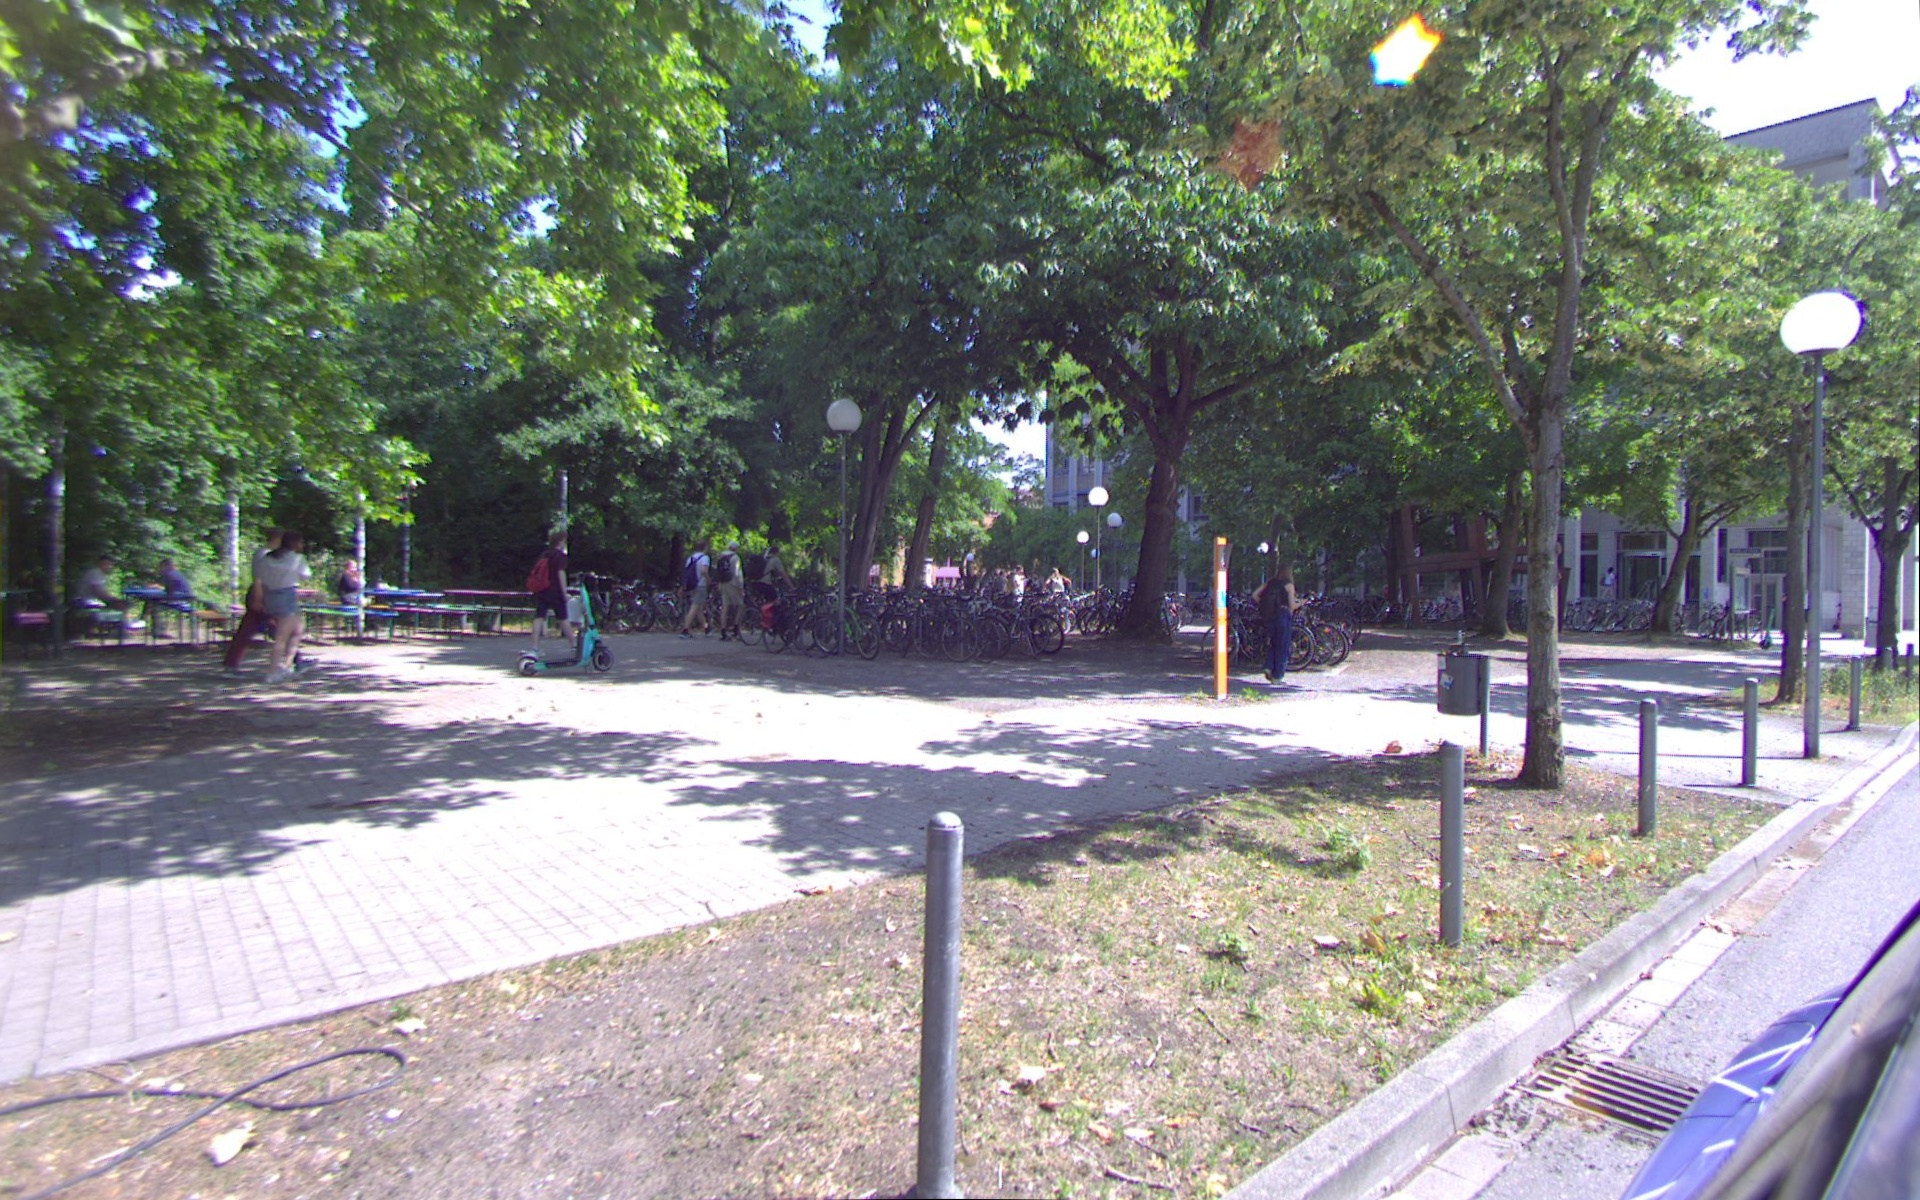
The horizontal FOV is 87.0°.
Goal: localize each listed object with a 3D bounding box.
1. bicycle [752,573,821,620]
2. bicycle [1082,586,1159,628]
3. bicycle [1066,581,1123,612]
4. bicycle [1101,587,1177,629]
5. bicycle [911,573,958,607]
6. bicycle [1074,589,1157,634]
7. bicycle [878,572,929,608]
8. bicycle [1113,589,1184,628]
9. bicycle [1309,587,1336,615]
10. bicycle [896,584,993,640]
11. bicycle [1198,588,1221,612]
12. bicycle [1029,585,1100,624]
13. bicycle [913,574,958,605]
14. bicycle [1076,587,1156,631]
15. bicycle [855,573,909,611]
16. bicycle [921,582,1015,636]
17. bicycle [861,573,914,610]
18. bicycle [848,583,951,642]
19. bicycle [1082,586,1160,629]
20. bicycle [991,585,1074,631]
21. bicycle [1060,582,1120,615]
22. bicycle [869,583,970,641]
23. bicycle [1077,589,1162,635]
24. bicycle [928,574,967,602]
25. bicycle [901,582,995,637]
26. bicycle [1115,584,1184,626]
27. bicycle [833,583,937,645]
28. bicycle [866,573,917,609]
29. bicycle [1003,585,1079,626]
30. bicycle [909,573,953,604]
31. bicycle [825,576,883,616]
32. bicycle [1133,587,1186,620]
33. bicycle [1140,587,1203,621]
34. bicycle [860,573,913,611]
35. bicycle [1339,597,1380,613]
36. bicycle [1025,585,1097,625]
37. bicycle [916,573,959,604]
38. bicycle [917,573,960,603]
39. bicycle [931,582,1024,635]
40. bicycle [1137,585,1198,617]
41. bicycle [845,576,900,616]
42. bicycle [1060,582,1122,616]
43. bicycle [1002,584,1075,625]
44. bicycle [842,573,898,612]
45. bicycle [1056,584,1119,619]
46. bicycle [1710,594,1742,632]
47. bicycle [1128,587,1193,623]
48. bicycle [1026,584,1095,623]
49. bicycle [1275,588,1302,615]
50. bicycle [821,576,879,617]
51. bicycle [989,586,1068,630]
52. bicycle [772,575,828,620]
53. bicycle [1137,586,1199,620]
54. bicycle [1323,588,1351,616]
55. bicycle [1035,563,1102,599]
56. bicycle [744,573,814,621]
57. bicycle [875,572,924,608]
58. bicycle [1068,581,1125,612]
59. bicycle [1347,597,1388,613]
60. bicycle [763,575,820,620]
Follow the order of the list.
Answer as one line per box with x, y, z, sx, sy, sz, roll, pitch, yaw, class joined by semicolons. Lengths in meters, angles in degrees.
-4.407;-0.097;25.649;1.734;1.107;0.475;2;2;24;bicycle
4.031;0.173;25.534;1.872;0.991;0.477;2;1;8;bicycle
4.588;-0.139;34.626;1.880;0.991;0.376;2;2;20;bicycle
4.661;0.193;26.330;1.880;0.991;0.475;2;2;20;bicycle
-0.886;-0.351;35.031;1.587;1.107;0.346;2;1;14;bicycle
3.691;0.276;24.030;1.868;0.991;0.478;2;1;1;bicycle
-1.856;-0.330;33.341;1.591;1.107;0.475;2;2;21;bicycle
5.125;0.220;27.596;1.873;0.991;0.477;2;1;11;bicycle
15.458;0.039;43.137;0.453;1.144;1.661;-2;-2;44;bicycle
-0.315;0.213;19.602;1.886;0.991;0.417;3;2;28;bicycle
11.806;0.021;47.783;0.475;1.098;1.666;-1;-2;35;bicycle
2.848;0.113;27.501;1.873;0.991;0.377;2;1;11;bicycle
-0.914;-0.389;37.181;1.586;1.107;0.347;2;1;12;bicycle
3.791;0.216;24.634;1.872;0.991;0.477;2;1;9;bicycle
-2.381;-0.245;30.896;1.591;1.107;0.475;2;2;21;bicycle
0.153;0.168;20.636;1.885;0.991;0.474;2;2;27;bicycle
-2.297;-0.290;31.958;1.591;1.107;0.475;2;2;21;bicycle
-1.117;0.216;18.518;1.881;0.991;0.418;2;2;22;bicycle
3.977;0.187;25.138;1.872;0.991;0.477;2;1;8;bicycle
1.709;0.185;23.902;1.880;0.991;0.475;2;2;20;bicycle
4.170;-0.061;32.521;1.880;0.991;0.376;2;2;20;bicycle
-0.775;0.210;19.070;1.884;0.991;0.474;2;2;25;bicycle
3.680;0.283;23.454;1.868;0.991;0.478;2;1;1;bicycle
-0.525;-0.488;41.904;1.581;1.107;0.348;2;1;1;bicycle
-0.256;0.178;20.089;1.886;0.991;0.417;3;2;28;bicycle
5.382;0.133;28.770;1.875;1.096;0.477;2;1;14;bicycle
-1.344;0.230;17.904;1.888;0.991;0.473;3;2;31;bicycle
-2.184;-0.298;32.290;1.591;1.107;0.346;2;2;21;bicycle
2.087;0.132;26.002;1.873;0.991;0.477;2;1;11;bicycle
-1.087;-0.440;38.241;1.586;1.107;0.347;2;1;12;bicycle
-3.076;-0.129;29.327;1.591;1.107;0.475;2;2;21;bicycle
6.719;0.112;34.181;1.714;1.035;0.292;2;1;9;bicycle
6.631;0.114;31.764;1.867;0.991;0.379;2;1;0;bicycle
-2.271;-0.254;31.230;1.591;1.107;0.475;2;2;21;bicycle
21.652;0.266;54.898;1.981;0.769;0.634;3;1;40;bicycle
2.711;0.136;27.108;1.873;0.991;0.377;2;1;11;bicycle
-0.855;-0.446;38.676;1.586;1.107;0.335;2;1;12;bicycle
-0.821;-0.454;38.916;1.586;1.107;0.347;2;1;12;bicycle
0.353;0.161;20.952;1.885;0.991;0.474;2;2;27;bicycle
6.778;0.035;33.048;1.868;0.991;0.378;2;1;1;bicycle
-2.584;-0.125;29.862;1.591;1.107;0.346;2;2;21;bicycle
4.112;-0.027;31.775;1.880;0.991;0.376;2;2;20;bicycle
2.056;0.117;26.469;1.873;0.991;0.377;2;1;11;bicycle
-2.698;-0.239;30.284;1.591;1.107;0.475;2;2;21;bicycle
3.955;0.034;31.390;1.880;0.991;0.376;2;2;20;bicycle
24.677;0.416;32.606;1.465;1.155;0.560;-1;3;-44;bicycle
6.102;0.140;30.771;1.880;0.991;0.376;2;2;20;bicycle
2.813;0.090;28.270;1.873;0.991;0.477;2;1;11;bicycle
14.413;0.080;44.392;0.453;1.144;1.661;-2;-2;44;bicycle
-3.151;-0.116;28.953;1.591;1.107;0.475;2;2;21;bicycle
1.678;0.176;24.947;1.885;0.991;0.438;2;2;26;bicycle
-4.228;-0.075;26.692;1.598;1.107;0.344;3;2;31;bicycle
6.619;0.092;32.214;1.867;0.991;0.379;2;1;0;bicycle
15.965;0.084;42.829;0.453;1.144;1.661;-2;-2;44;bicycle
3.156;-0.567;29.487;1.880;0.991;0.376;2;2;20;bicycle
-4.536;-0.090;25.328;1.734;1.107;0.475;2;2;24;bicycle
-1.973;-0.323;33.006;1.591;1.107;0.346;2;2;21;bicycle
4.723;-0.139;35.024;1.880;0.991;0.376;2;2;20;bicycle
22.292;0.283;55.355;1.981;0.769;0.634;3;1;40;bicycle
-4.402;-0.071;26.380;1.598;1.107;0.344;3;2;31;bicycle
